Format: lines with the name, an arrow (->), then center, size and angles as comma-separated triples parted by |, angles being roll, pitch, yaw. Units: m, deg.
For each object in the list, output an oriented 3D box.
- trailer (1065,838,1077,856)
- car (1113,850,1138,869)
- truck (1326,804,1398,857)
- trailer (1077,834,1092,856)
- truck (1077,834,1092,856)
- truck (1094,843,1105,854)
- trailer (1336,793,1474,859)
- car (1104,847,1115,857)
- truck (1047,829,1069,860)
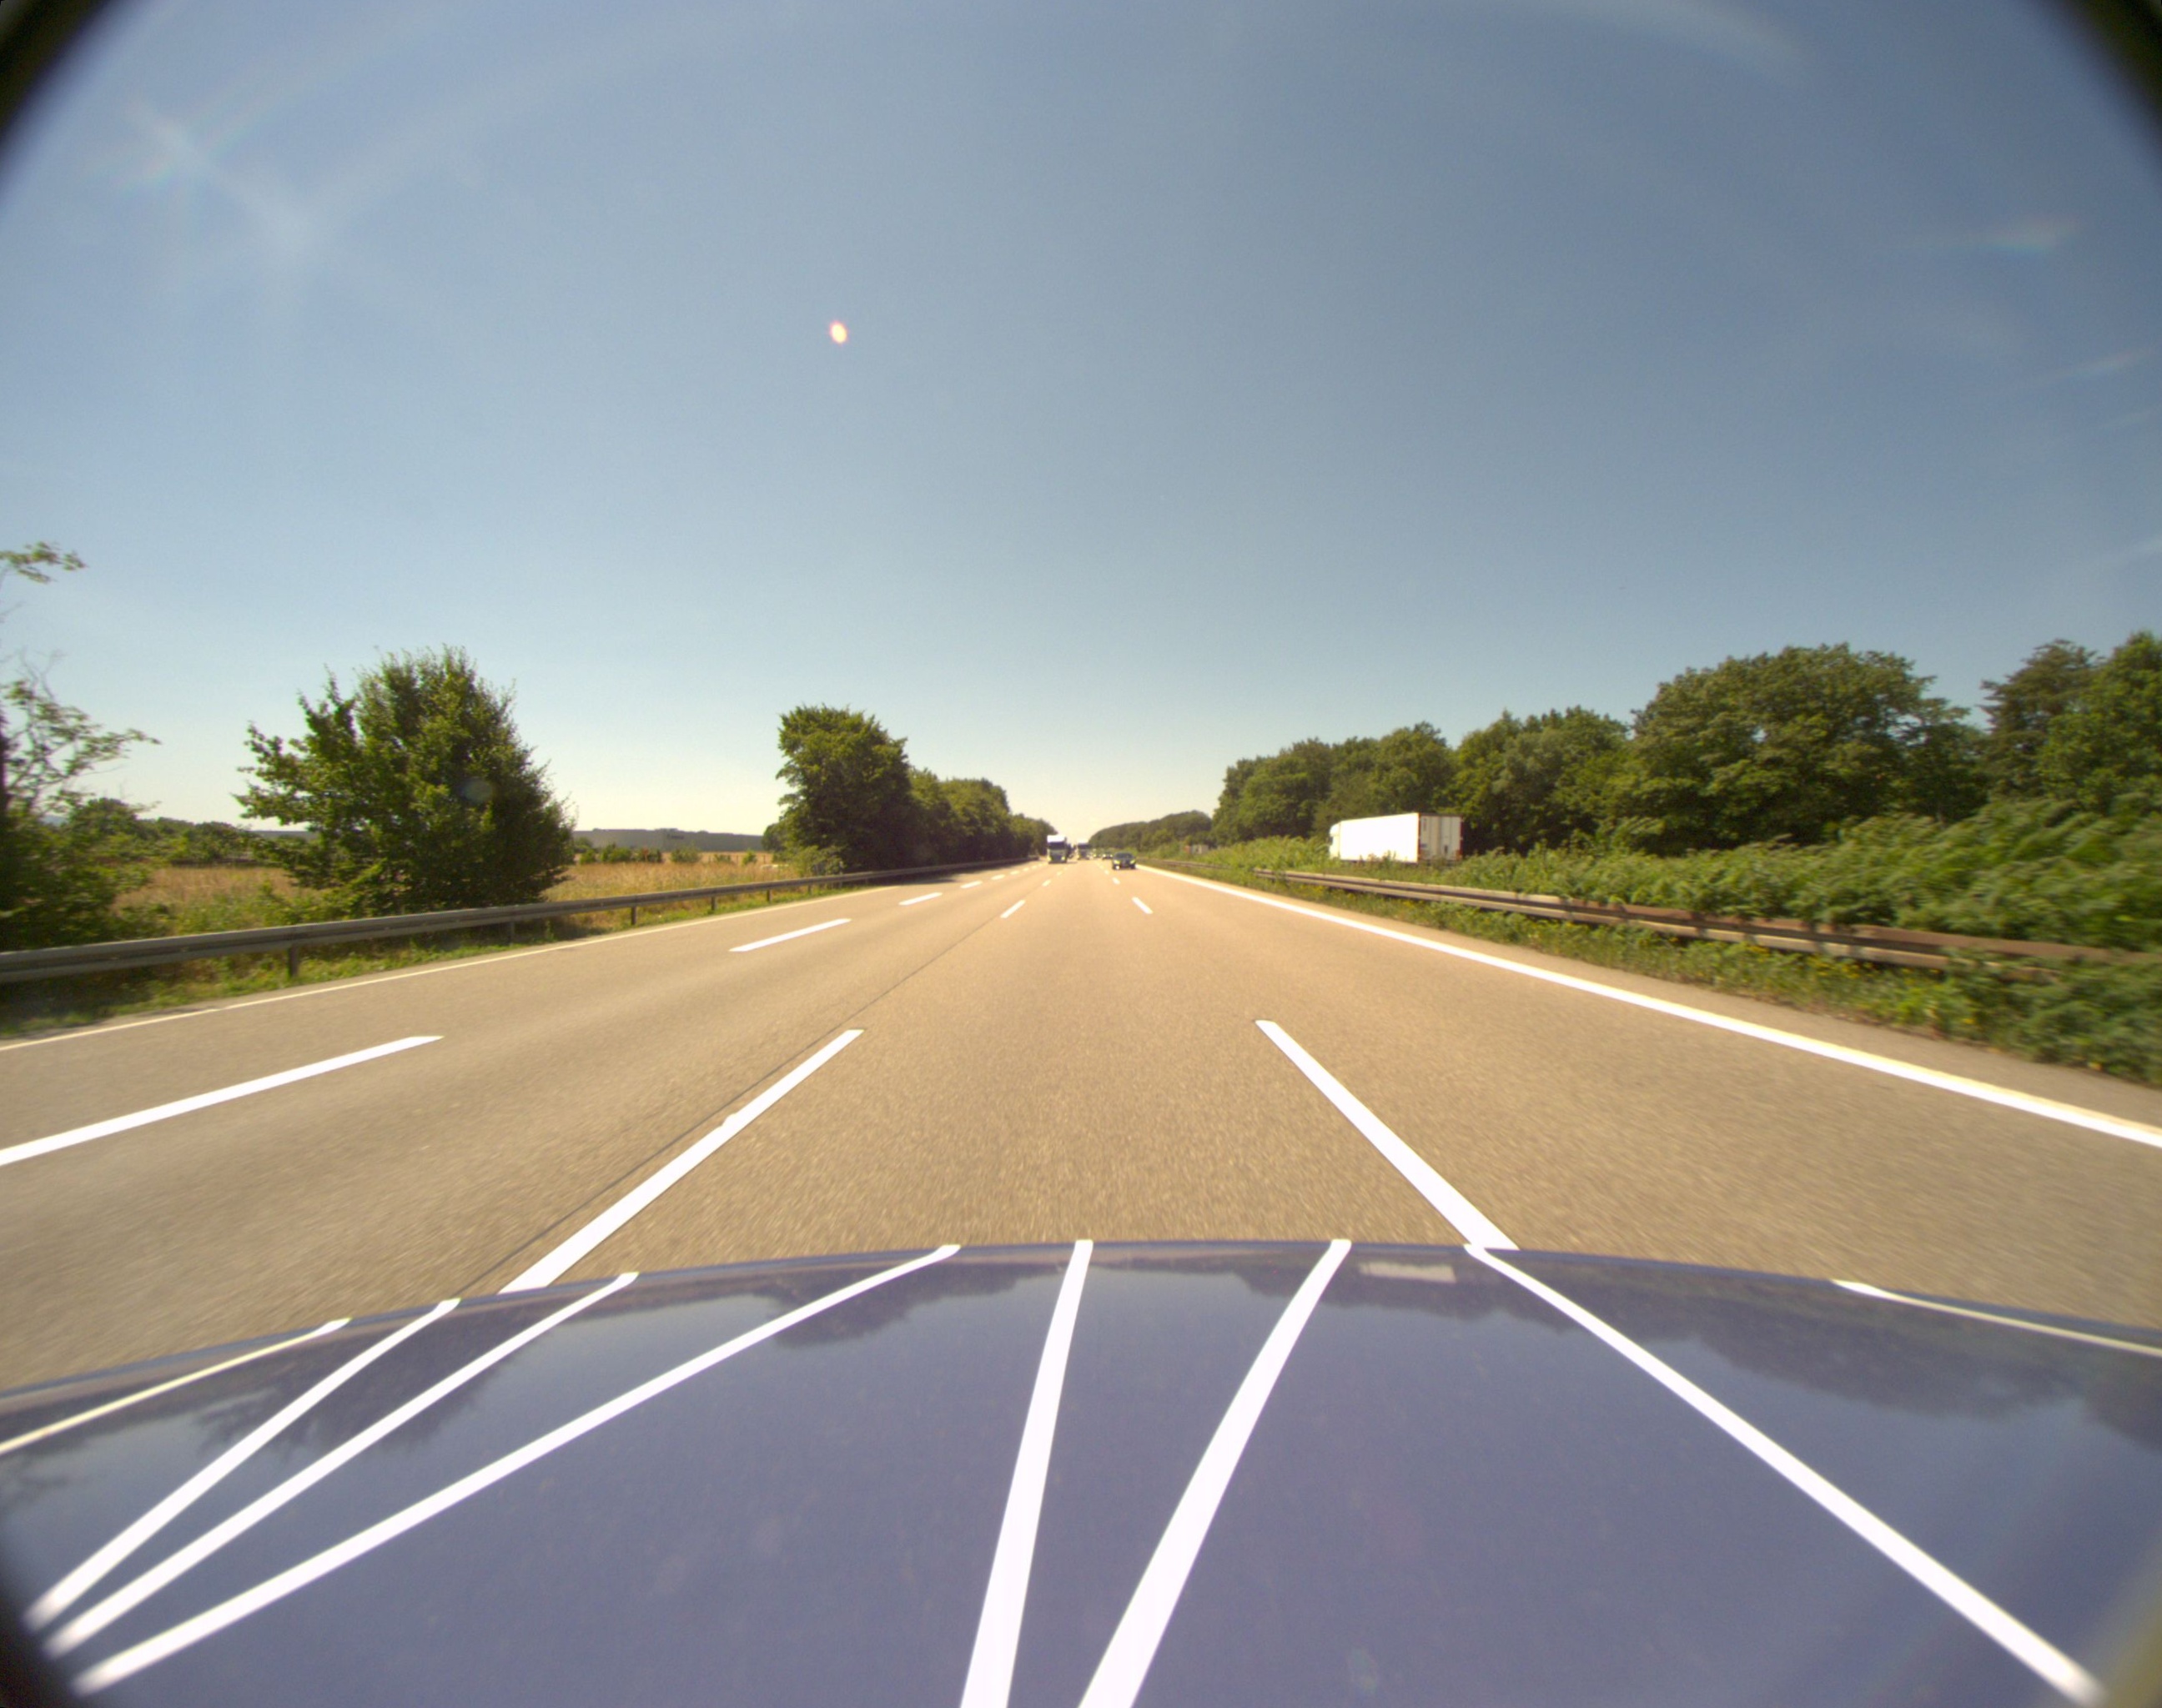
trailer -> -2.440, -1.653, 184.426 | 2.864, 4.247, 11.469 | -2, 1, -1
car -> 3.705, 0.440, 63.723 | 1.811, 1.399, 3.999 | -3, 1, -1
truck -> 21.096, -1.719, 57.424 | 3.187, 3.677, 6.035 | -2, 1, 1
trailer -> 0.703, -1.894, 158.337 | 2.863, 4.247, 11.470 | -2, 1, 0
truck -> 0.724, -1.836, 151.758 | 2.863, 4.247, 5.410 | -2, 1, 0
truck -> 4.438, -1.262, 182.723 | 2.576, 2.461, 5.614 | -2, 1, 0
trailer -> 21.027, -1.658, 50.875 | 3.187, 3.677, 14.381 | -2, 1, 1
car -> 5.020, -0.400, 133.528 | 1.806, 1.774, 3.999 | -1, 1, 0
truck -> -3.307, -1.397, 110.953 | 2.864, 4.247, 6.862 | -2, 1, -1
